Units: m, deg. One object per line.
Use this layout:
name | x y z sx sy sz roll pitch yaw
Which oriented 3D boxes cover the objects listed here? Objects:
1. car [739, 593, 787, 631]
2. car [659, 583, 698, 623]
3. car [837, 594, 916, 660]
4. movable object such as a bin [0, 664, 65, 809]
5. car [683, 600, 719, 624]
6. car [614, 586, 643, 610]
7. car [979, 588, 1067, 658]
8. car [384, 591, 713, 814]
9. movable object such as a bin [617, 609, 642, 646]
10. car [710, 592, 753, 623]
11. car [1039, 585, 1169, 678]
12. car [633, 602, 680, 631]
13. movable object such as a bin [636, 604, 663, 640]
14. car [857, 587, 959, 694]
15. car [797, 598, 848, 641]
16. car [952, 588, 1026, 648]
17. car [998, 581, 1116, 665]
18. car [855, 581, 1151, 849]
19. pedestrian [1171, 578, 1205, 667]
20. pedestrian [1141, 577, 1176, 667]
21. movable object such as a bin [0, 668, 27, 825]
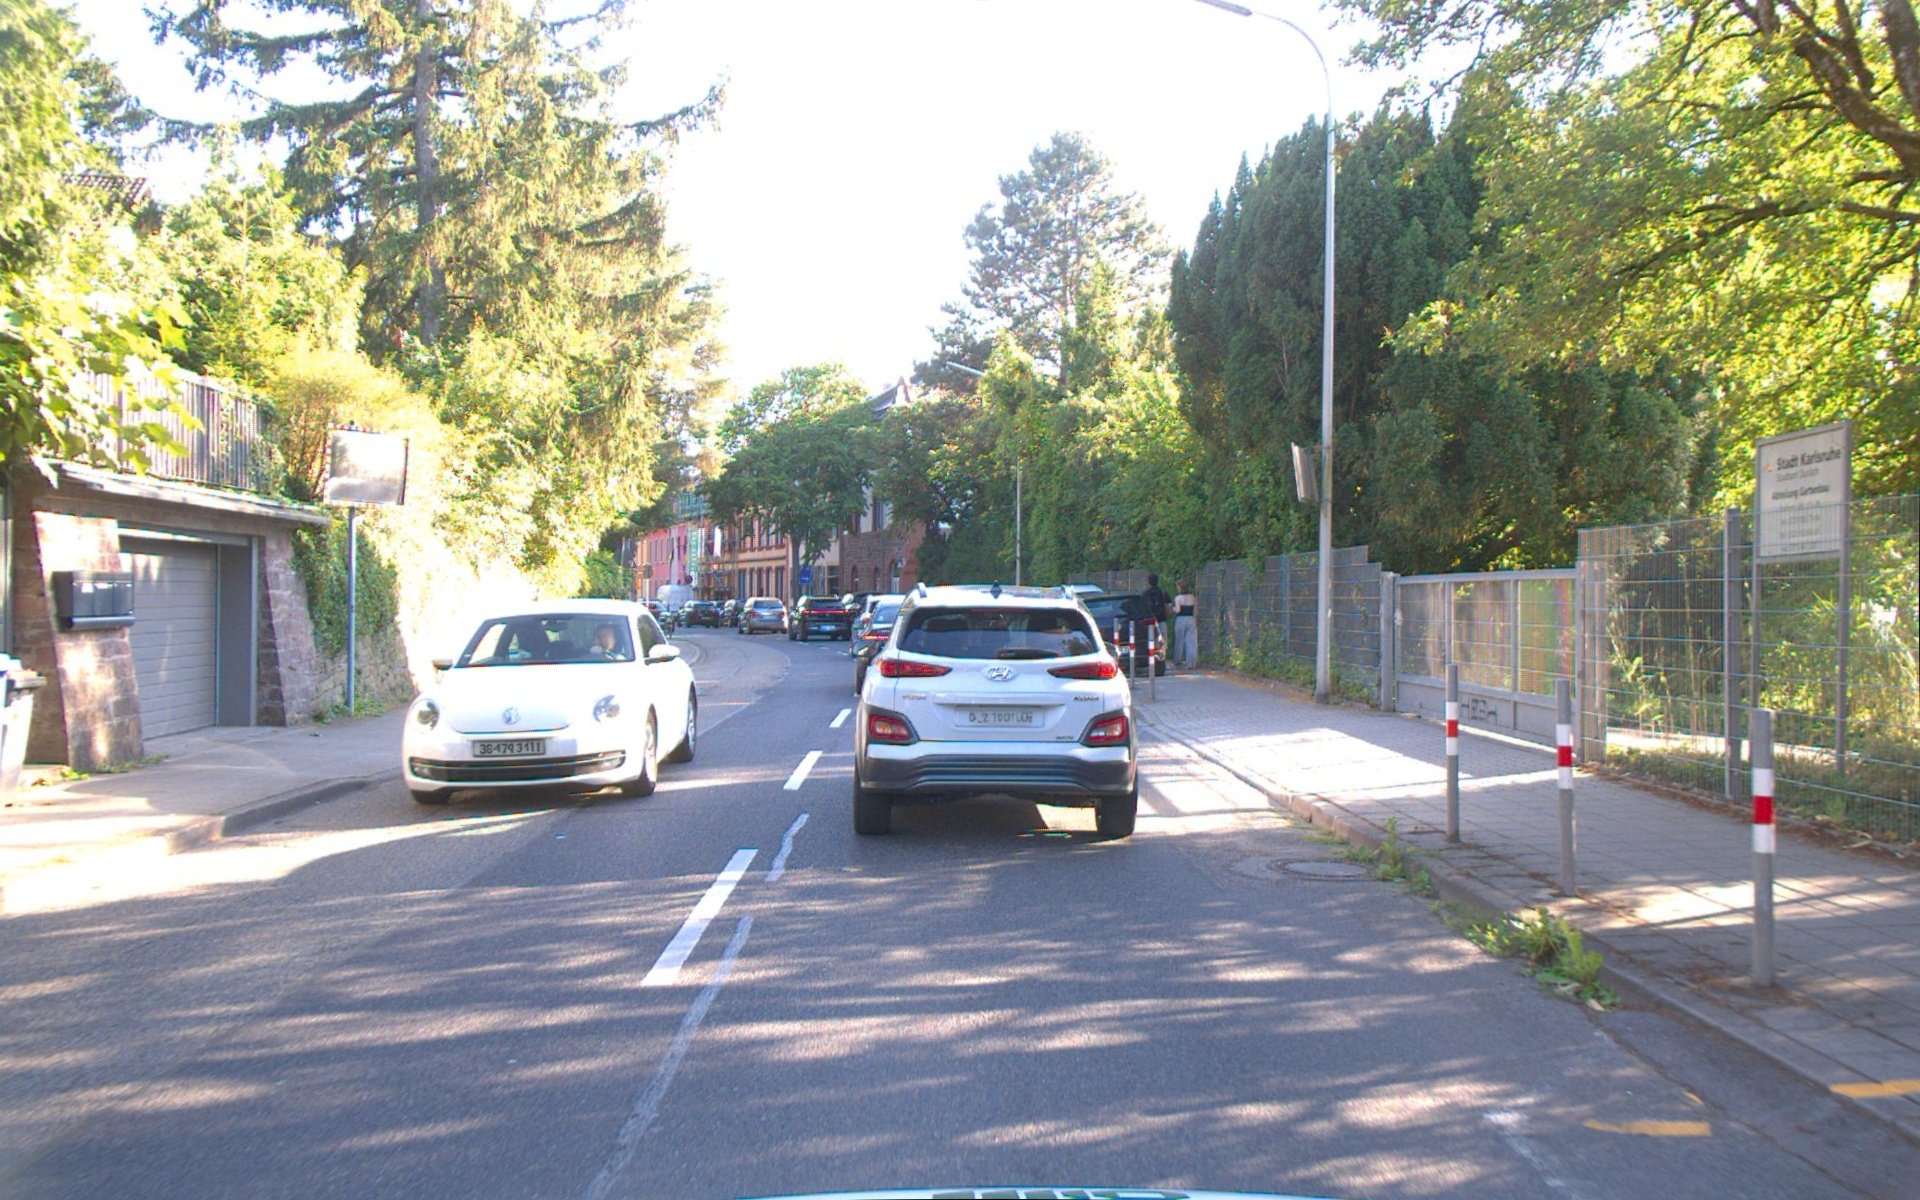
car | -8.685 0.520 72.758 1.564 1.610 3.346 -1 0 -16
car | -19.210 0.238 112.747 1.900 2.628 4.368 -1 0 -20
car | -2.059 0.614 40.116 1.541 1.503 3.540 1 0 -9
movable object such as a bin | -6.489 0.921 11.246 0.562 0.941 0.438 1 0 -4
car | -14.139 0.651 90.090 1.502 1.282 3.345 -1 0 -17
car | -27.432 -0.155 136.842 1.693 1.970 3.973 -1 0 -22
car | 1.478 0.540 40.270 1.563 1.545 3.927 -3 0 -6
car | -3.193 0.711 13.640 1.705 1.500 3.999 -2 0 -1
movable object such as a bin | -9.318 0.778 46.654 0.485 1.029 1.112 1 -1 -2
car | -13.120 0.415 94.734 1.729 1.645 3.979 1 1 -18
car | 2.471 0.513 29.292 1.653 1.456 3.997 -2 0 -4
car | -14.276 0.756 77.663 1.569 1.341 3.790 0 0 -20
movable object such as a bin | -10.626 0.753 56.642 0.776 1.210 0.772 1 -1 -3
car | -0.869 0.580 26.164 1.482 1.560 3.545 -1 1 -3
car | -4.938 0.670 59.185 1.563 1.486 3.092 -1 0 -10
car | 0.765 0.464 45.589 1.563 1.515 3.598 -3 1 -6
car | 1.969 0.462 34.564 1.564 1.592 3.991 -2 0 -10
car | 0.237 0.674 11.713 1.736 1.569 3.999 0 0 -1
pedestrian | 4.187 0.416 30.406 0.493 1.596 0.503 -3 0 -1
pedestrian | 3.654 0.403 30.452 0.493 1.634 0.491 -3 0 -1
movable object such as a bin | -6.322 0.934 10.492 0.480 0.981 0.583 1 0 -4
